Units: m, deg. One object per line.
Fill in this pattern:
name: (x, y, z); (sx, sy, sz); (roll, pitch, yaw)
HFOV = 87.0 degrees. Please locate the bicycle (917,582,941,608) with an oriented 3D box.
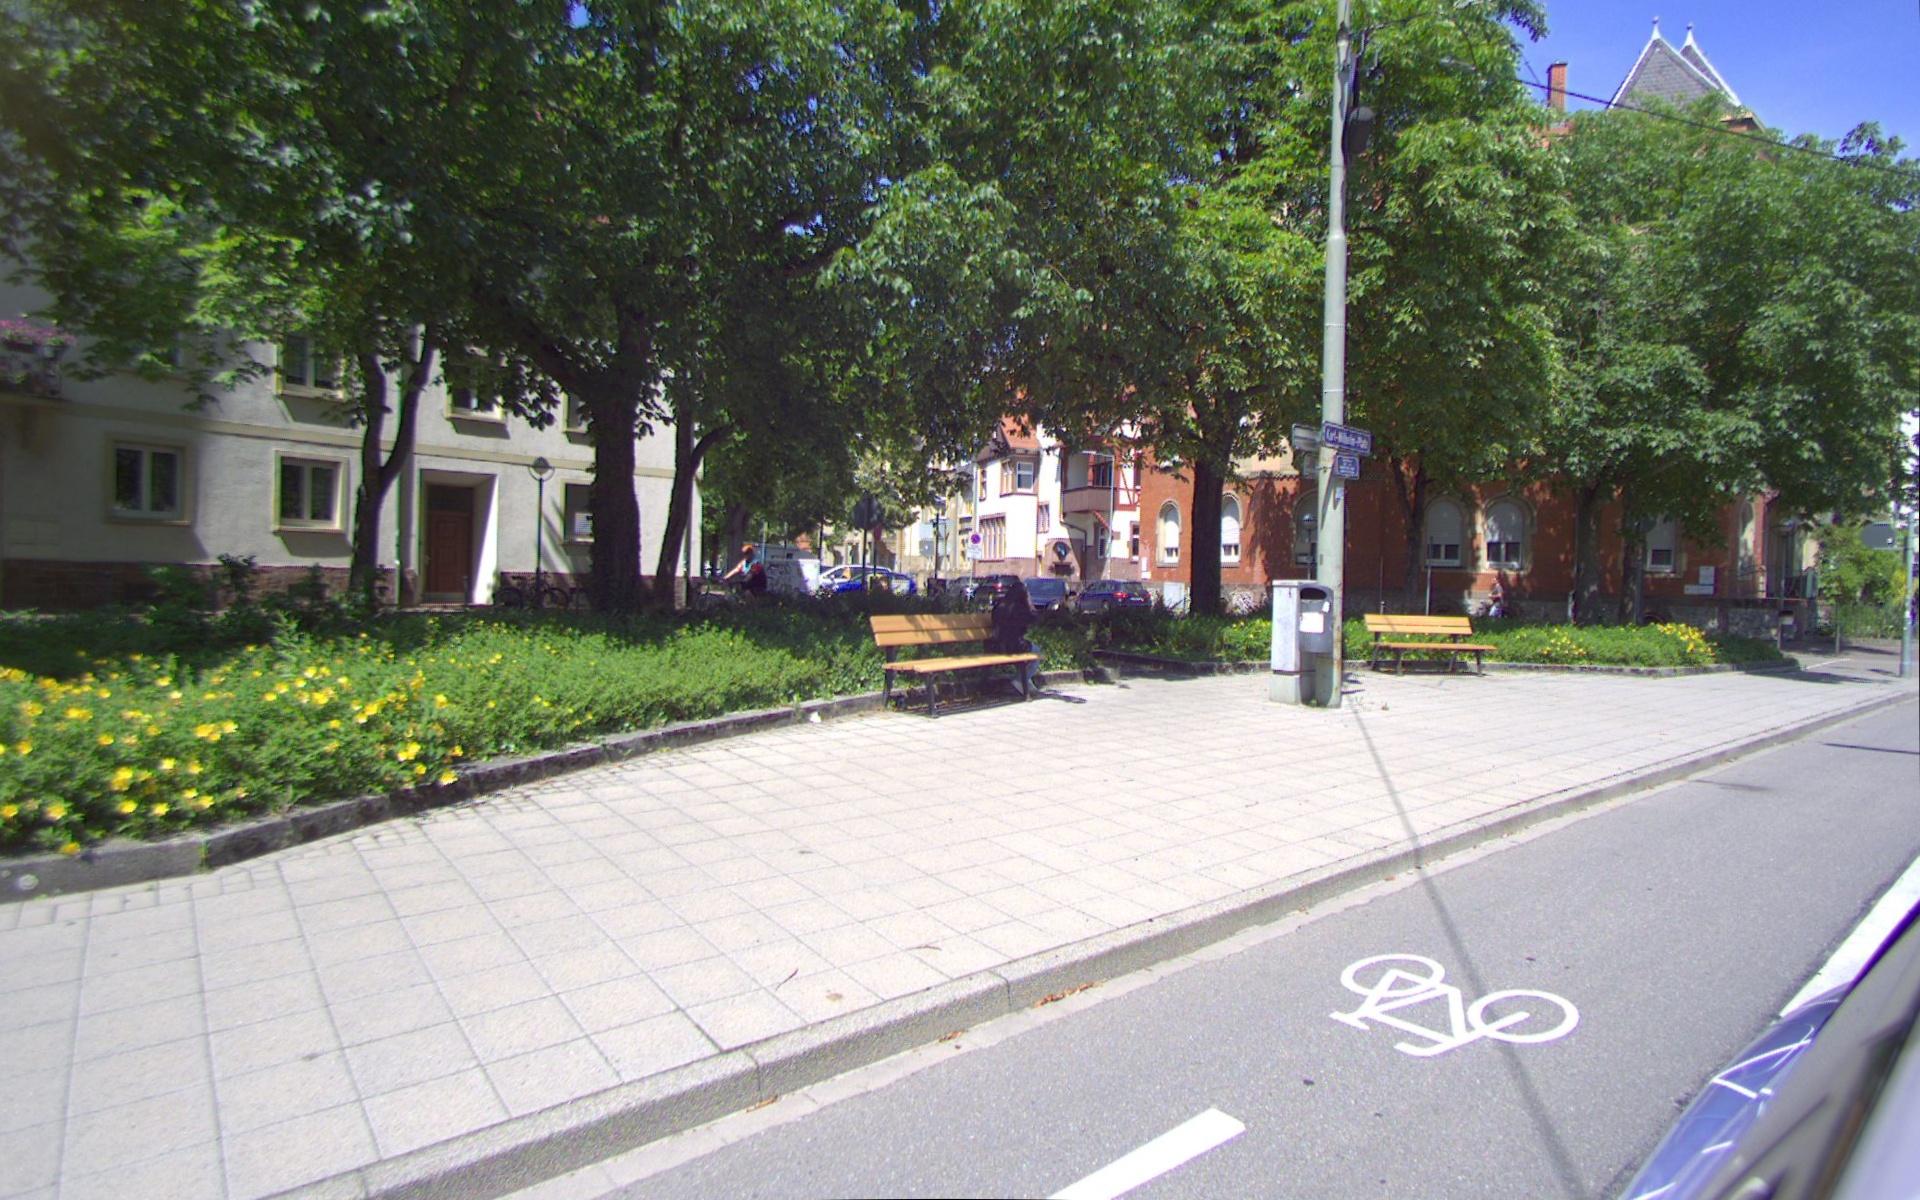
bicycle: (-1.452, -0.249, 47.139); (0.532, 1.172, 1.784); (0, 0, -21)

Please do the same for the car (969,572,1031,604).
car: (2.066, -0.618, 54.070); (1.897, 1.638, 4.318); (0, 0, -19)

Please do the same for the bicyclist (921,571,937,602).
bicyclist: (-1.451, -0.616, 47.132); (0.532, 1.438, 0.635); (0, 0, -21)

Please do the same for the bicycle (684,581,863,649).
bicycle: (-3.702, 0.257, 20.566); (3.683, 1.279, 0.953); (-1, 0, -44)

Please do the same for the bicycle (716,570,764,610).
bicycle: (-5.868, -0.268, 26.899); (0.736, 1.024, 2.273); (0, 0, -26)

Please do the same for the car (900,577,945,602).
car: (-2.567, -0.726, 67.944); (1.897, 1.638, 4.318); (0, 0, -19)

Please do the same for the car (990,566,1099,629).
car: (2.488, -0.096, 28.692); (1.915, 1.638, 4.493); (0, 0, 21)

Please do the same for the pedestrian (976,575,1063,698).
pedestrian: (0.598, 0.337, 10.069); (0.562, 1.156, 0.718); (3, 2, 33)

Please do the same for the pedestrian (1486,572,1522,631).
pedestrian: (17.393, 0.045, 32.383); (0.827, 1.846, 0.671); (2, 1, 14)

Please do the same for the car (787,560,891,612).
car: (-5.372, -0.627, 44.823); (4.219, 2.219, 1.942); (0, 0, -18)

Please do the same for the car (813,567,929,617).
car: (-3.545, -0.321, 40.011); (4.219, 1.903, 1.942); (0, 0, -18)

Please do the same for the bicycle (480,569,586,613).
bicycle: (-10.253, -0.221, 24.370); (2.230, 1.024, 0.751); (-1, 0, -41)

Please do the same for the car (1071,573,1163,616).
car: (6.275, -0.232, 41.020); (1.897, 1.638, 4.318); (0, 0, -19)

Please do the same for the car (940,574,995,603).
car: (0.379, -0.653, 58.677); (1.897, 1.638, 4.318); (0, 0, -19)

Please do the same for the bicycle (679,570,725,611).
bicycle: (-6.776, -0.259, 26.470); (0.736, 1.024, 2.273); (0, 0, -26)

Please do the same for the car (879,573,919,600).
car: (-4.503, -1.005, 74.457); (1.897, 1.897, 4.318); (0, 0, -19)

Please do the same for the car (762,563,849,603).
car: (-8.085, -0.882, 52.933); (4.219, 2.029, 1.942); (0, 0, -18)

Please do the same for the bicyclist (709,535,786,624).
bicyclist: (-4.212, -0.398, 20.105); (1.233, 1.717, 0.872); (0, 0, -44)

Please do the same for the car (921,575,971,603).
car: (-0.919, -0.690, 63.248); (1.897, 1.638, 4.318); (0, 0, -19)
